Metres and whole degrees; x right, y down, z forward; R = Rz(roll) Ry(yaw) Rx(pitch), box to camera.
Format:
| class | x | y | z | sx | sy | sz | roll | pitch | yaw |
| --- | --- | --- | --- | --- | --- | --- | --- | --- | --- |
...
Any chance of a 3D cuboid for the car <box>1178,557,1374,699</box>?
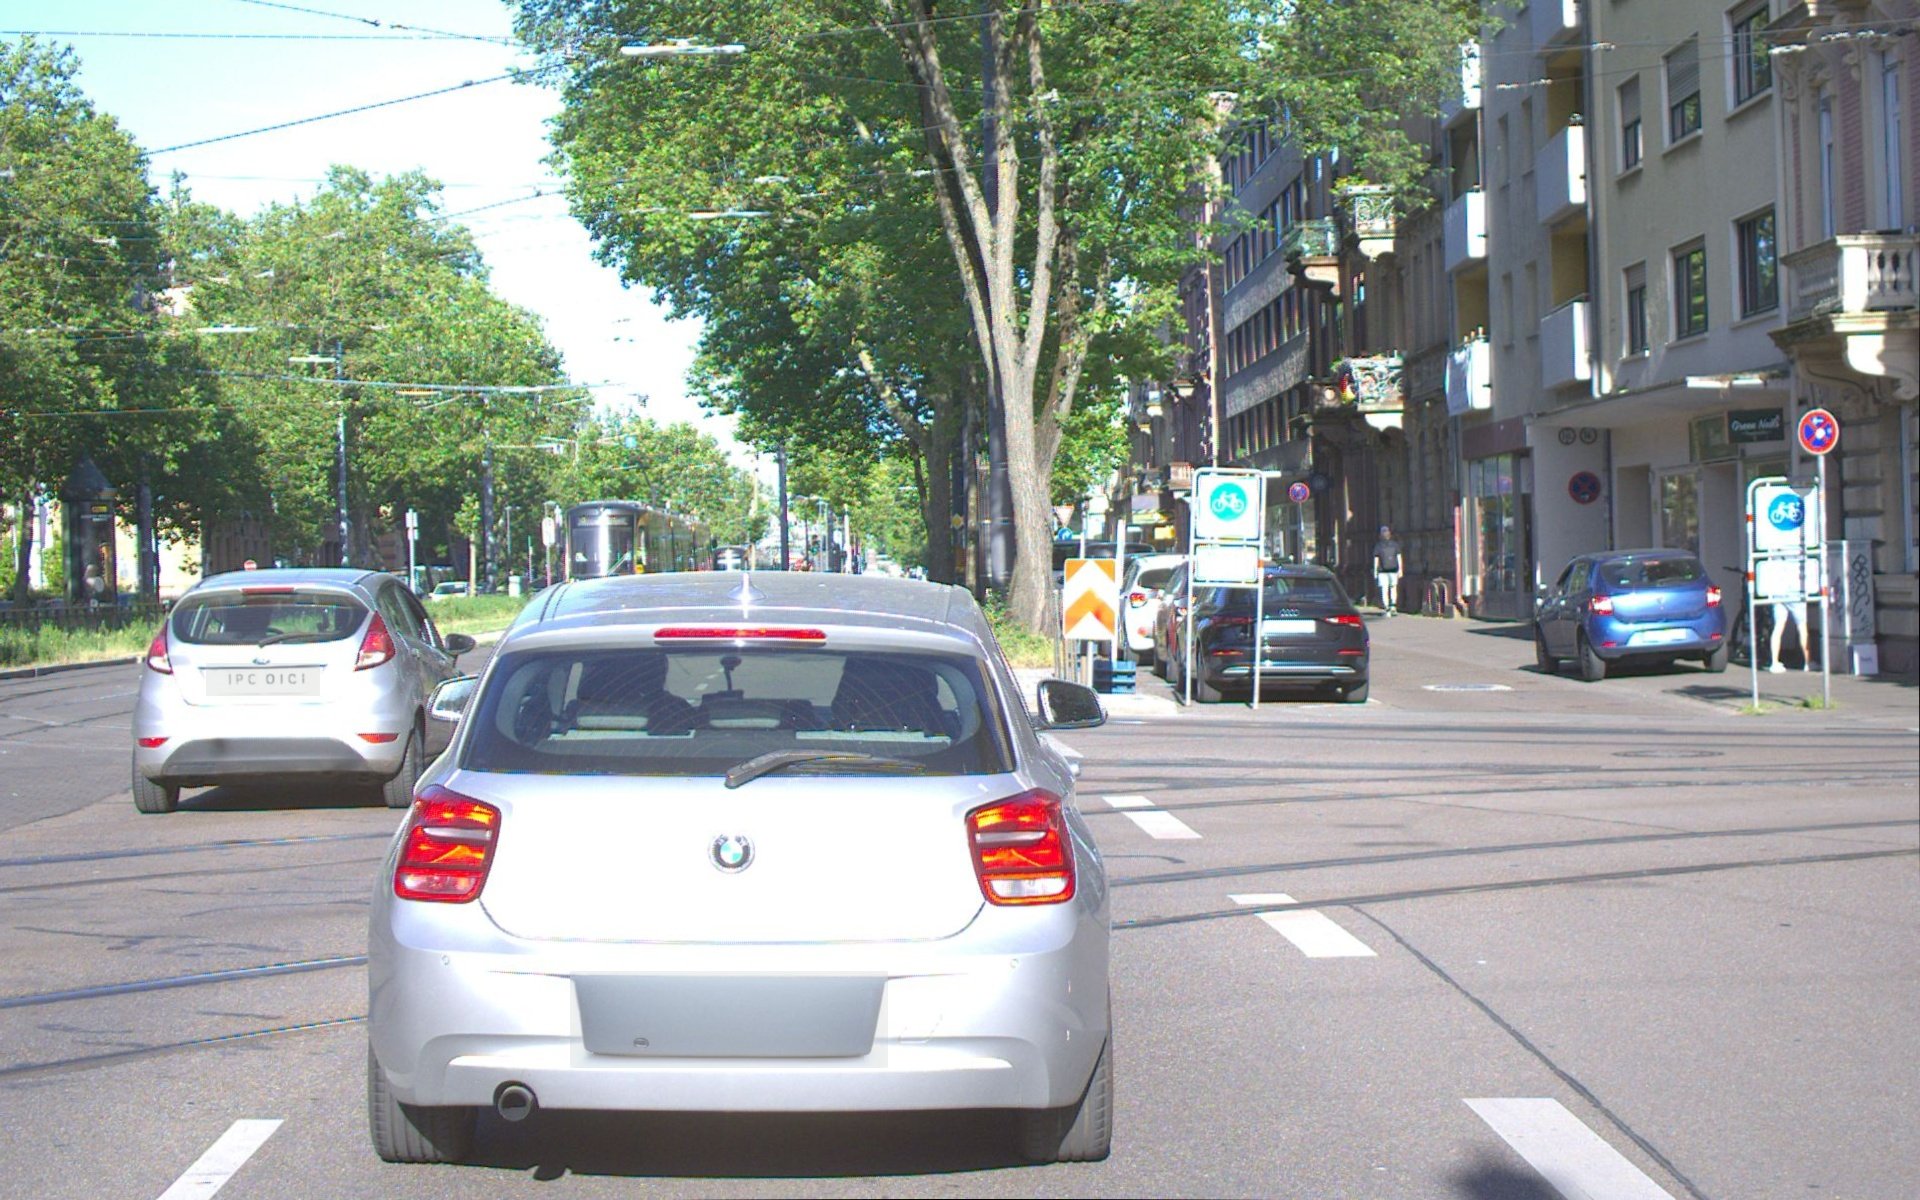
| class | x | y | z | sx | sy | sz | roll | pitch | yaw |
| --- | --- | --- | --- | --- | --- | --- | --- | --- | --- |
| car | 3.304 | 0.260 | 36.528 | 1.735 | 1.428 | 3.678 | 0 | 1 | 0 |

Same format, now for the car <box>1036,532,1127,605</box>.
| class | x | y | z | sx | sy | sz | roll | pitch | yaw |
| --- | --- | --- | --- | --- | --- | --- | --- | --- | --- |
| car | 2.554 | -0.671 | 72.905 | 1.724 | 1.502 | 3.555 | 0 | 1 | -1 |

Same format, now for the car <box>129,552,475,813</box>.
| class | x | y | z | sx | sy | sz | roll | pitch | yaw |
| --- | --- | --- | --- | --- | --- | --- | --- | --- | --- |
| car | -4.047 | 0.444 | 21.671 | 1.609 | 1.462 | 3.890 | -1 | 1 | -3 |

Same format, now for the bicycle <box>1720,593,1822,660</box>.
| class | x | y | z | sx | sy | sz | roll | pitch | yaw |
| --- | --- | --- | --- | --- | --- | --- | --- | --- | --- |
| bicycle | 10.005 | 0.318 | 42.480 | 0.754 | 0.768 | 1.945 | -1 | 1 | -1 |

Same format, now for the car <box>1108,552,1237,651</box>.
| class | x | y | z | sx | sy | sz | roll | pitch | yaw |
| --- | --- | --- | --- | --- | --- | --- | --- | --- | --- |
| car | 3.311 | -0.001 | 54.140 | 1.724 | 1.502 | 3.555 | 0 | 1 | -1 |

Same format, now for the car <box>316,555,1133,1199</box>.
| class | x | y | z | sx | sy | sz | roll | pitch | yaw |
| --- | --- | --- | --- | --- | --- | --- | --- | --- | --- |
| car | -0.509 | 0.621 | 9.376 | 1.740 | 1.462 | 4.000 | 1 | 1 | 0 |

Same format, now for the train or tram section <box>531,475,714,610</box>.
| class | x | y | z | sx | sy | sz | roll | pitch | yaw |
| --- | --- | --- | --- | --- | --- | --- | --- | --- | --- |
| train or tram section | -10.439 | -1.807 | 108.676 | 3.969 | 3.852 | 17.489 | -1 | 1 | 0 |

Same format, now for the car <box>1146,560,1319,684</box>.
| class | x | y | z | sx | sy | sz | roll | pitch | yaw |
| --- | --- | --- | --- | --- | --- | --- | --- | --- | --- |
| car | 3.270 | 0.232 | 41.797 | 1.743 | 1.428 | 3.555 | 0 | 1 | -1 |

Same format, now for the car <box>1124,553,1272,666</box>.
| class | x | y | z | sx | sy | sz | roll | pitch | yaw |
| --- | --- | --- | --- | --- | --- | --- | --- | --- | --- |
| car | 3.257 | 0.101 | 47.574 | 1.724 | 1.502 | 3.555 | 0 | 1 | -1 |

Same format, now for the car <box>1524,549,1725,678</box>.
| class | x | y | z | sx | sy | sz | roll | pitch | yaw |
| --- | --- | --- | --- | --- | --- | --- | --- | --- | --- |
| car | 8.132 | 0.129 | 42.364 | 1.735 | 1.514 | 3.637 | 0 | 1 | -1 |

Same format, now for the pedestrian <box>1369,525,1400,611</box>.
| class | x | y | z | sx | sy | sz | roll | pitch | yaw |
| --- | --- | --- | --- | --- | --- | --- | --- | --- | --- |
| pedestrian | 8.987 | -0.684 | 72.785 | 0.505 | 1.795 | 0.805 | -1 | 1 | 0 |

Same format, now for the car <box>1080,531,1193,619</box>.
| class | x | y | z | sx | sy | sz | roll | pitch | yaw |
| --- | --- | --- | --- | --- | --- | --- | --- | --- | --- |
| car | 3.070 | -0.452 | 60.428 | 1.724 | 1.502 | 3.555 | 0 | 1 | -1 |
